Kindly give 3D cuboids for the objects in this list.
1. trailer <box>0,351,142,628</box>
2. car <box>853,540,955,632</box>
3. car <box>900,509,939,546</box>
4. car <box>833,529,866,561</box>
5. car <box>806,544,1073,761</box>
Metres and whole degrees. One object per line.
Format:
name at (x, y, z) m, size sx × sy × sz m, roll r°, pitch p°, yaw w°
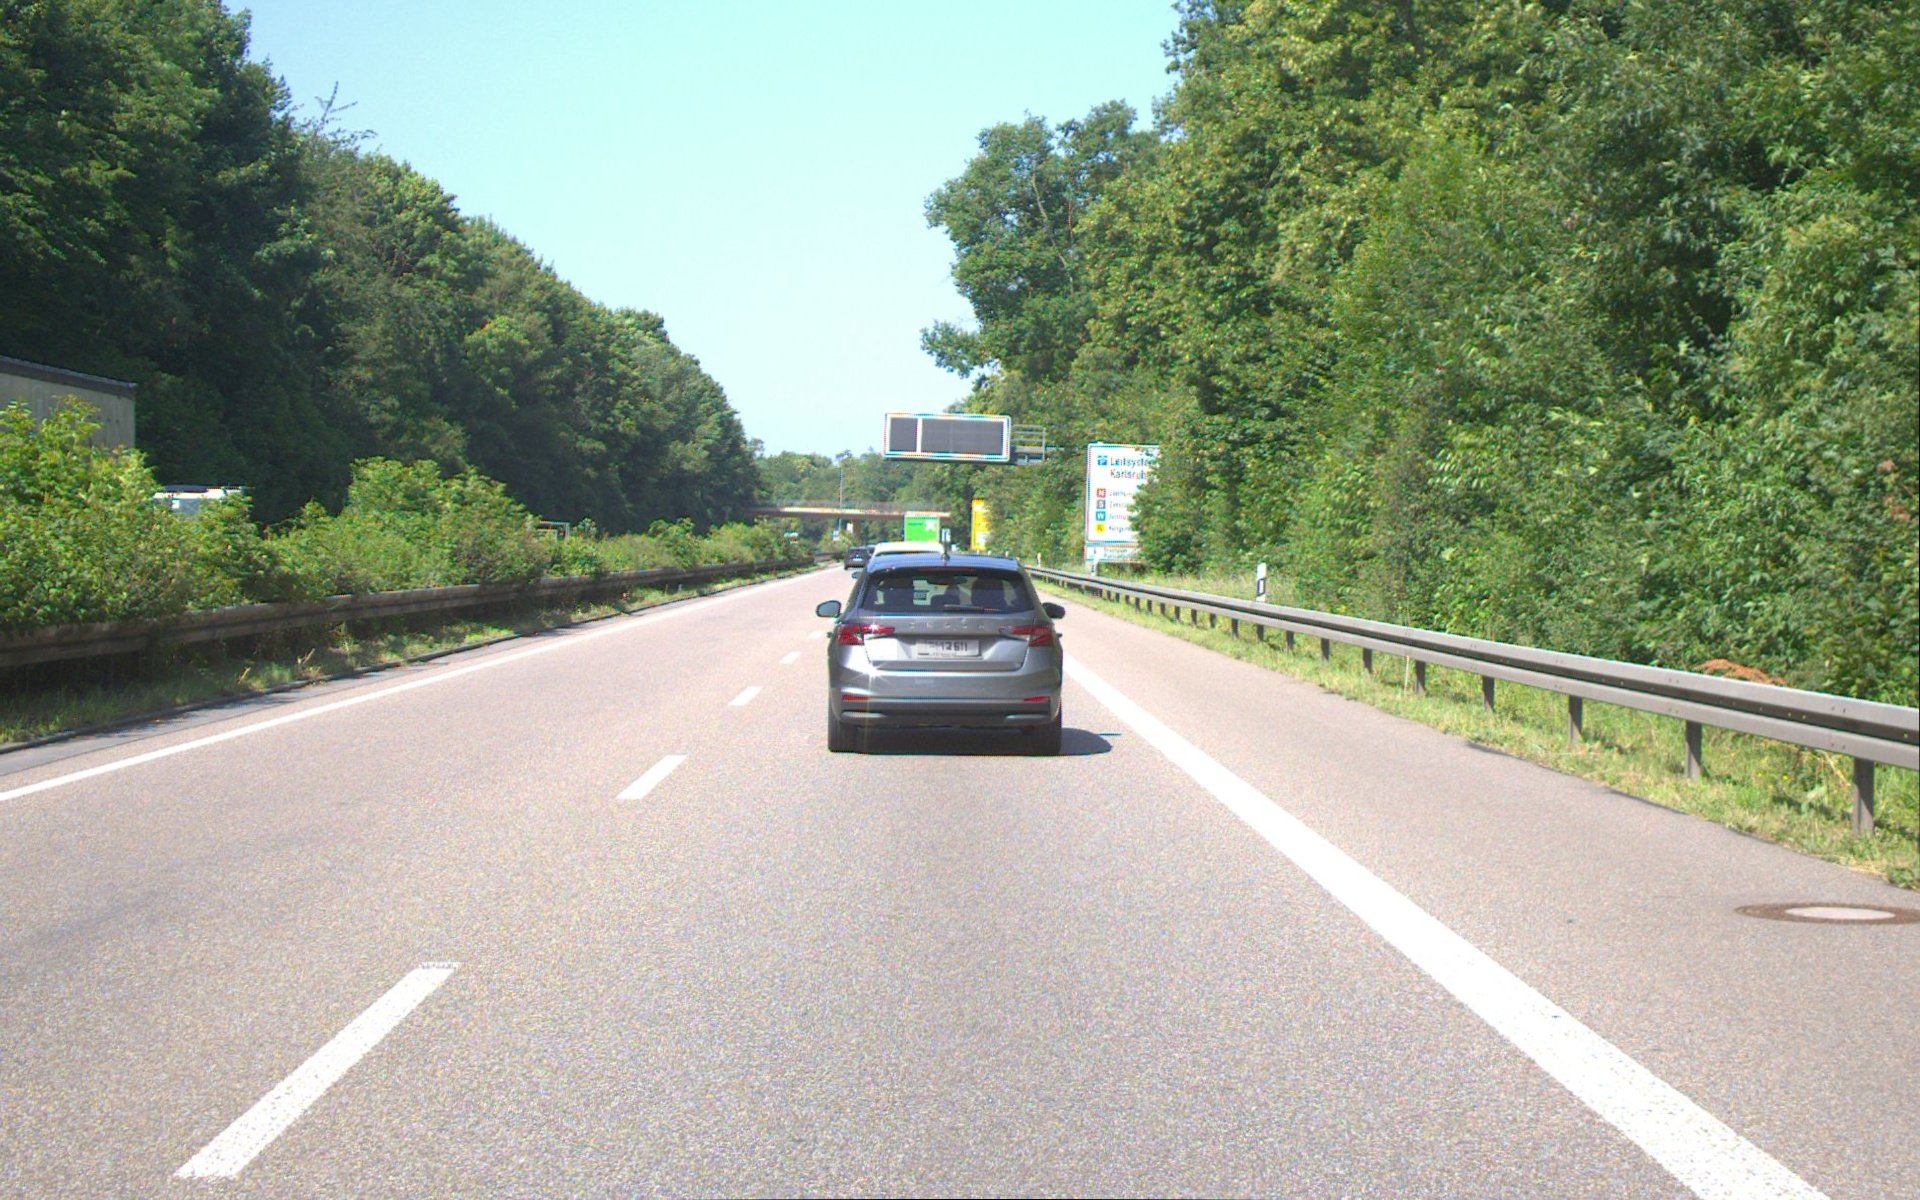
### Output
trailer at (-16.330, -1.757, 55.956) m, size 2.828 × 4.285 × 13.664 m, roll 1°, pitch 1°, yaw -1°
car at (-0.896, -0.252, 56.616) m, size 1.522 × 1.442 × 3.340 m, roll 1°, pitch 1°, yaw 1°
car at (-2.966, -5.326, 252.664) m, size 2.748 × 2.645 × 4.000 m, roll 1°, pitch 1°, yaw 0°
car at (-7.060, -3.515, 220.750) m, size 1.993 × 2.007 × 4.000 m, roll 1°, pitch 1°, yaw 0°
car at (-0.105, 0.335, 25.738) m, size 1.840 × 1.467 × 3.623 m, roll 1°, pitch 1°, yaw 1°
